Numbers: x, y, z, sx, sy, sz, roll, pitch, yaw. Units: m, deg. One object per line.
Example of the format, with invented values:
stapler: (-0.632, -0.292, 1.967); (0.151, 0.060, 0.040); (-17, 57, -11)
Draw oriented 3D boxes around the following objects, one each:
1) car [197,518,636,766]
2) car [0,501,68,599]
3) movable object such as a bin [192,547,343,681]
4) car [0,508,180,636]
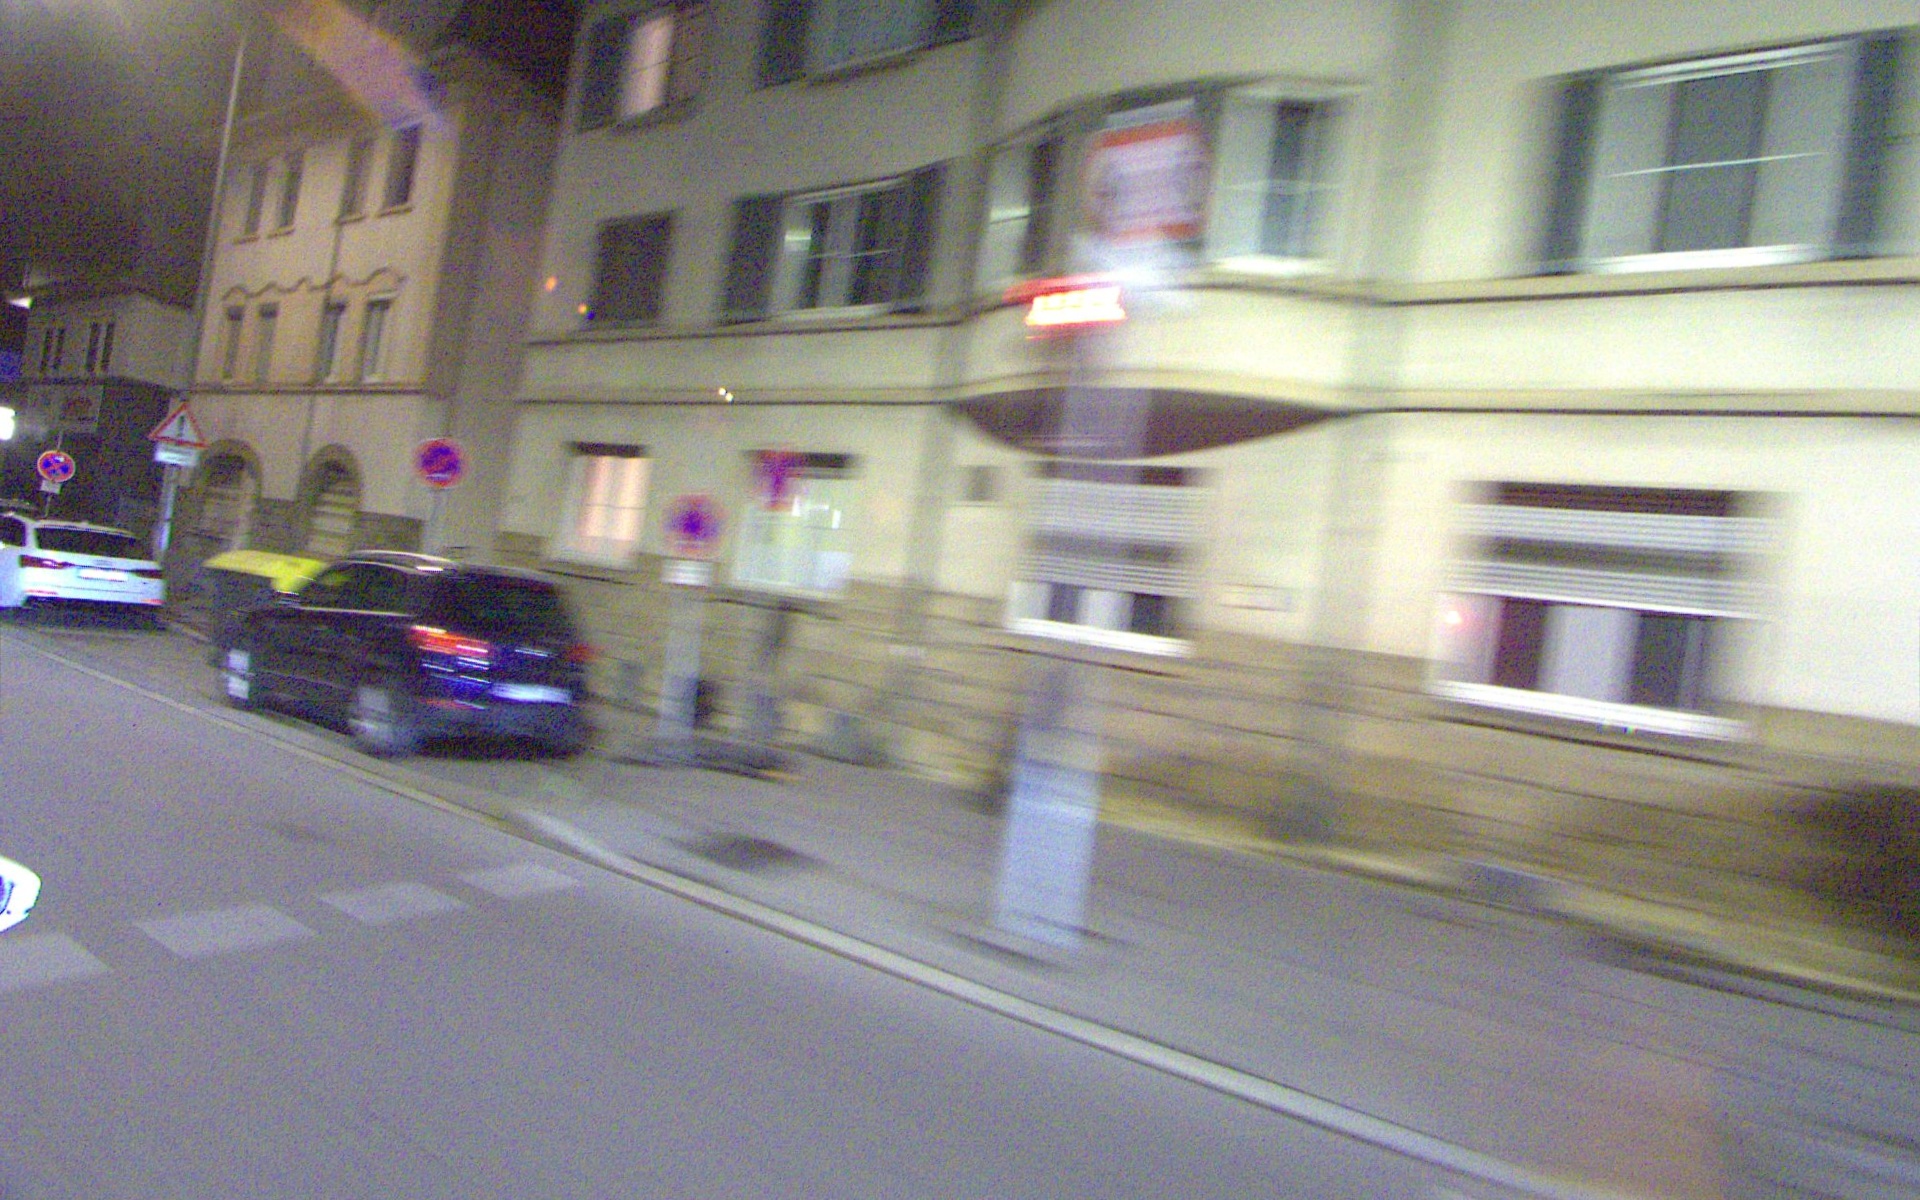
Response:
car: (-5.243, 0.302, 9.539); (4.189, 1.703, 1.746); (6, -1, 33)
car: (-17.980, -1.076, 18.100); (4.142, 1.584, 1.746); (6, -1, 33)
movable object such as a bin: (-8.470, 0.179, 12.308); (1.316, 1.449, 0.939); (7, 0, 30)
car: (-13.841, -0.538, 15.149); (4.755, 1.526, 1.746); (6, -1, 33)
